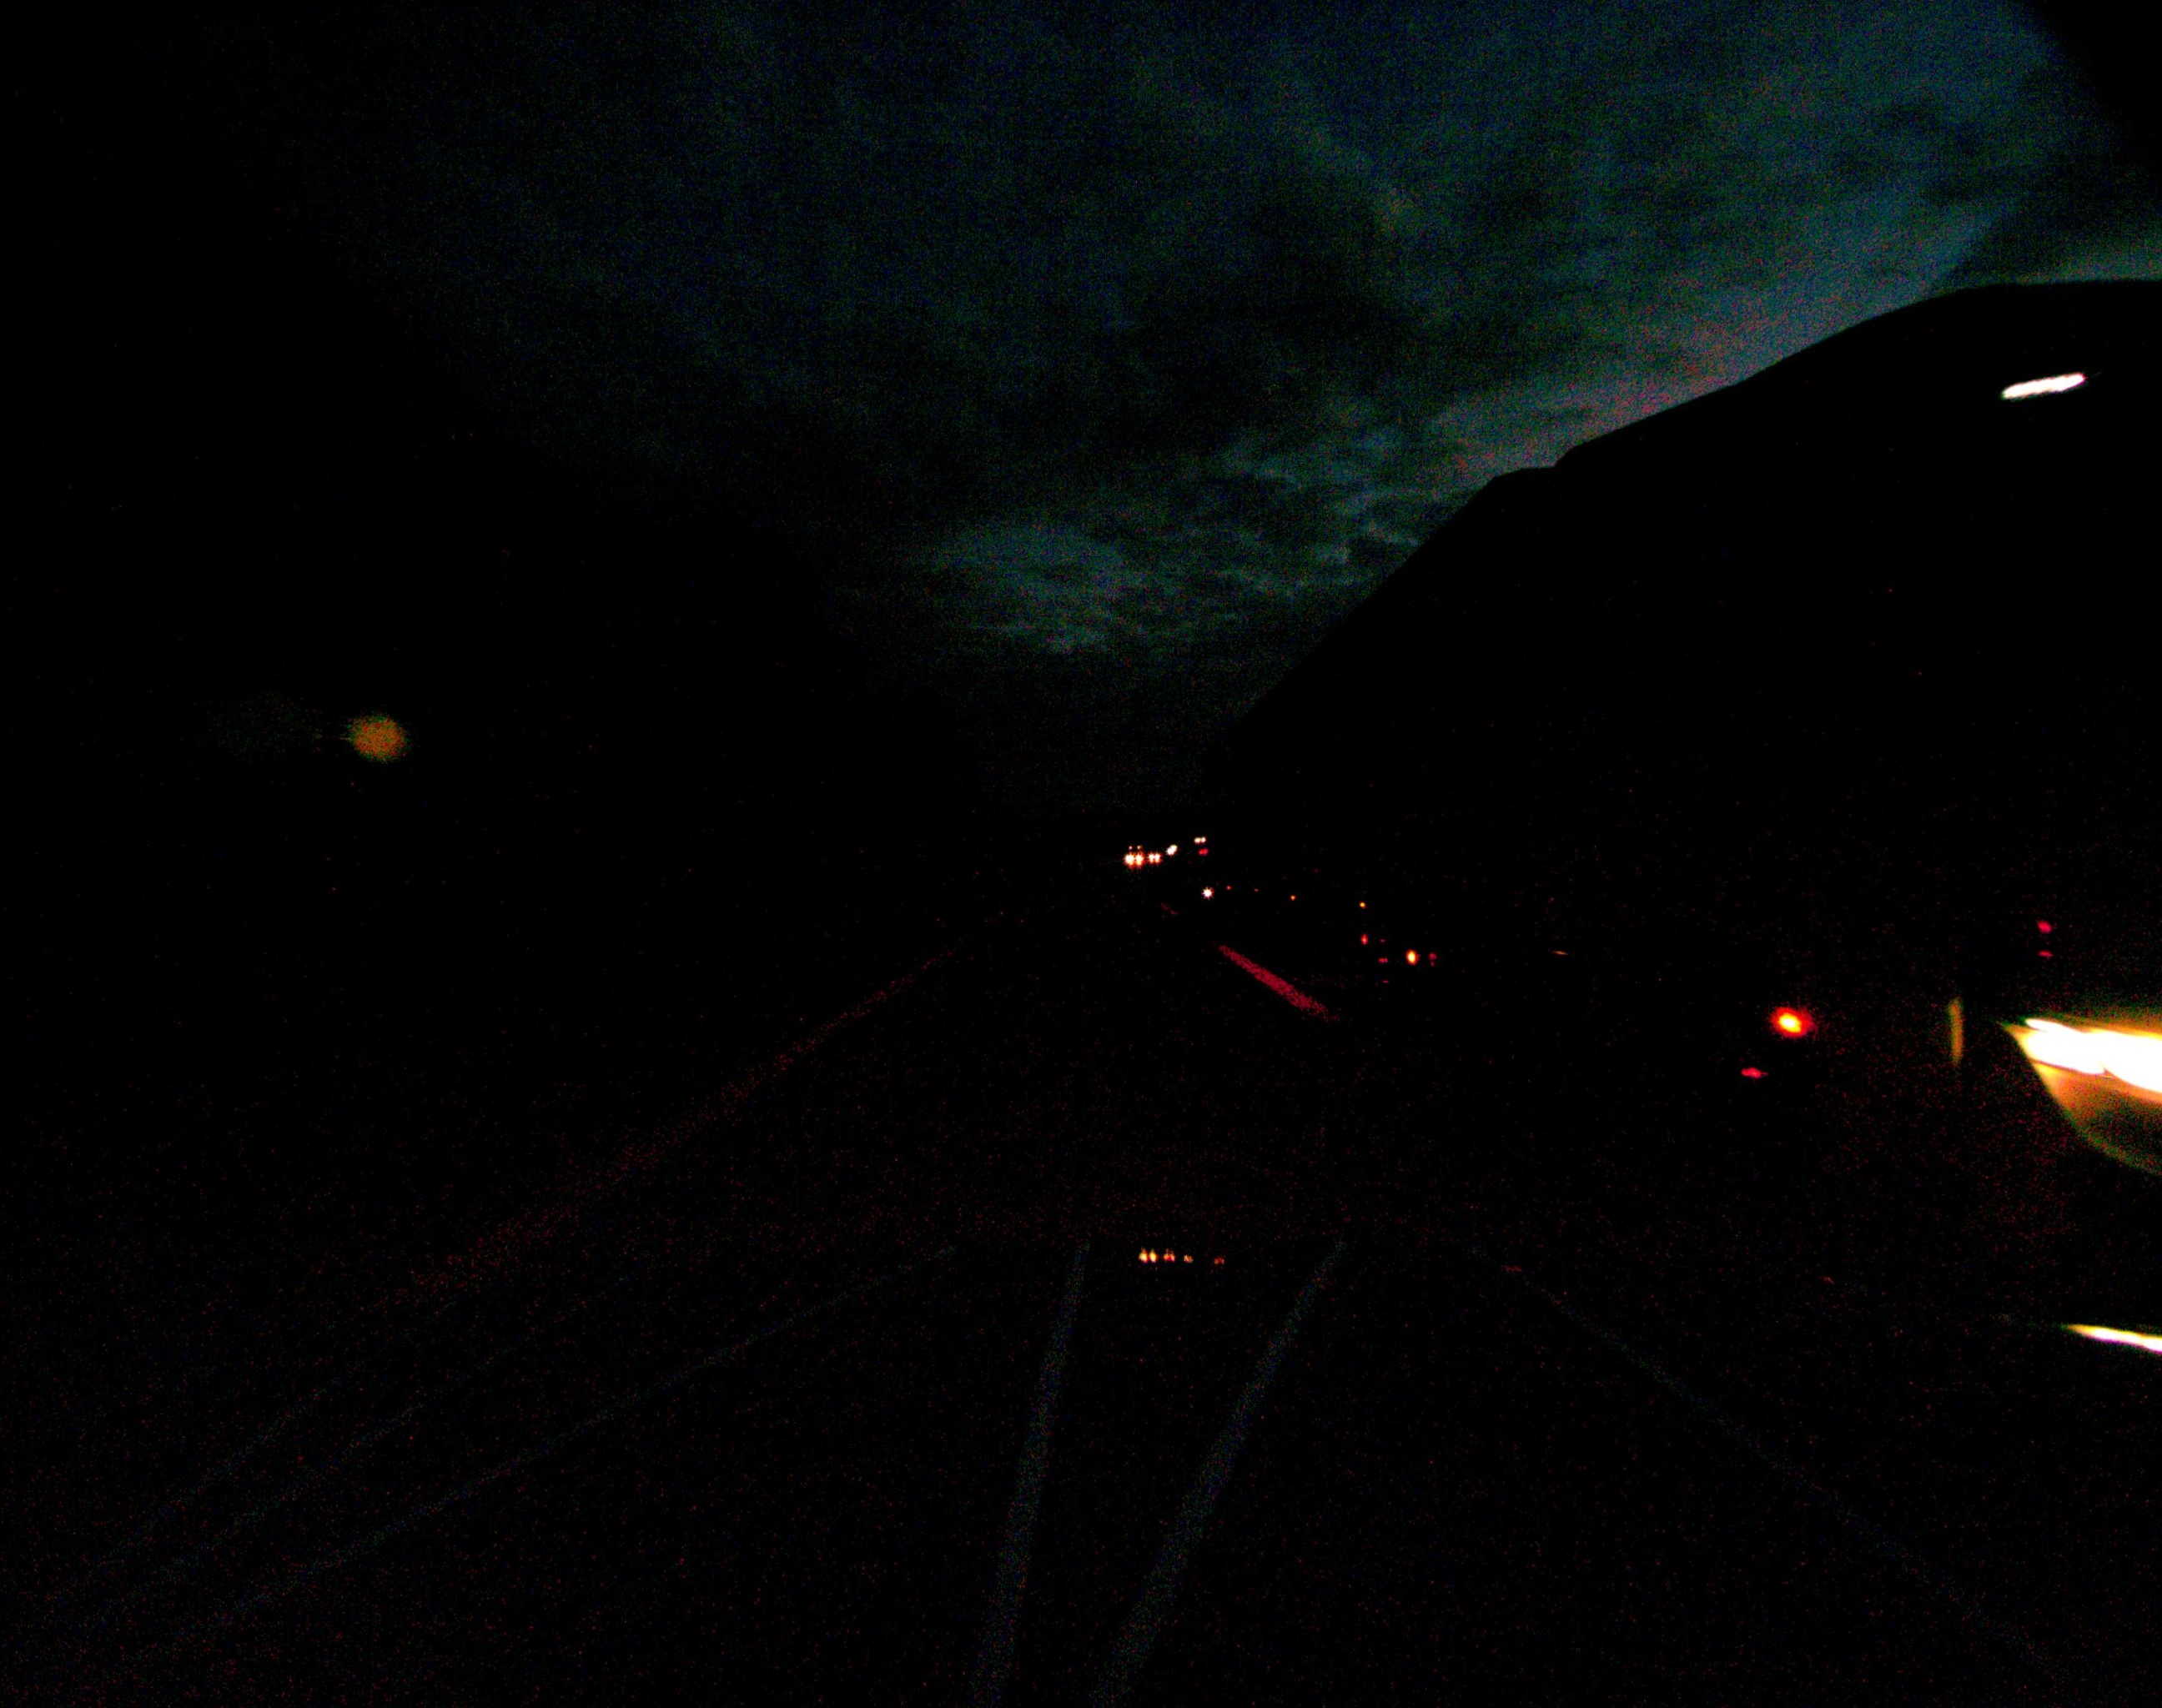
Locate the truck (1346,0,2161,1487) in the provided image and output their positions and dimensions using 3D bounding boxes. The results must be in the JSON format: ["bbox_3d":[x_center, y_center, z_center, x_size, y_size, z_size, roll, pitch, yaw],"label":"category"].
[{"bbox_3d":[4.155,-0.360,4.840,2.786,3.879,6.154,-1,0,1],"label":"truck"}]

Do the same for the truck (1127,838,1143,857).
[{"bbox_3d":[12.945,-1.574,182.372,3.352,4.293,11.326,-1,1,2],"label":"truck"}]

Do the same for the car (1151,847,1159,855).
[{"bbox_3d":[20.226,-0.834,207.715,1.998,2.002,4.000,-1,1,2],"label":"car"}]

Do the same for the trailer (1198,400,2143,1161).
[{"bbox_3d":[4.222,-0.395,11.368,2.781,3.892,14.818,-1,0,1],"label":"trailer"}]
